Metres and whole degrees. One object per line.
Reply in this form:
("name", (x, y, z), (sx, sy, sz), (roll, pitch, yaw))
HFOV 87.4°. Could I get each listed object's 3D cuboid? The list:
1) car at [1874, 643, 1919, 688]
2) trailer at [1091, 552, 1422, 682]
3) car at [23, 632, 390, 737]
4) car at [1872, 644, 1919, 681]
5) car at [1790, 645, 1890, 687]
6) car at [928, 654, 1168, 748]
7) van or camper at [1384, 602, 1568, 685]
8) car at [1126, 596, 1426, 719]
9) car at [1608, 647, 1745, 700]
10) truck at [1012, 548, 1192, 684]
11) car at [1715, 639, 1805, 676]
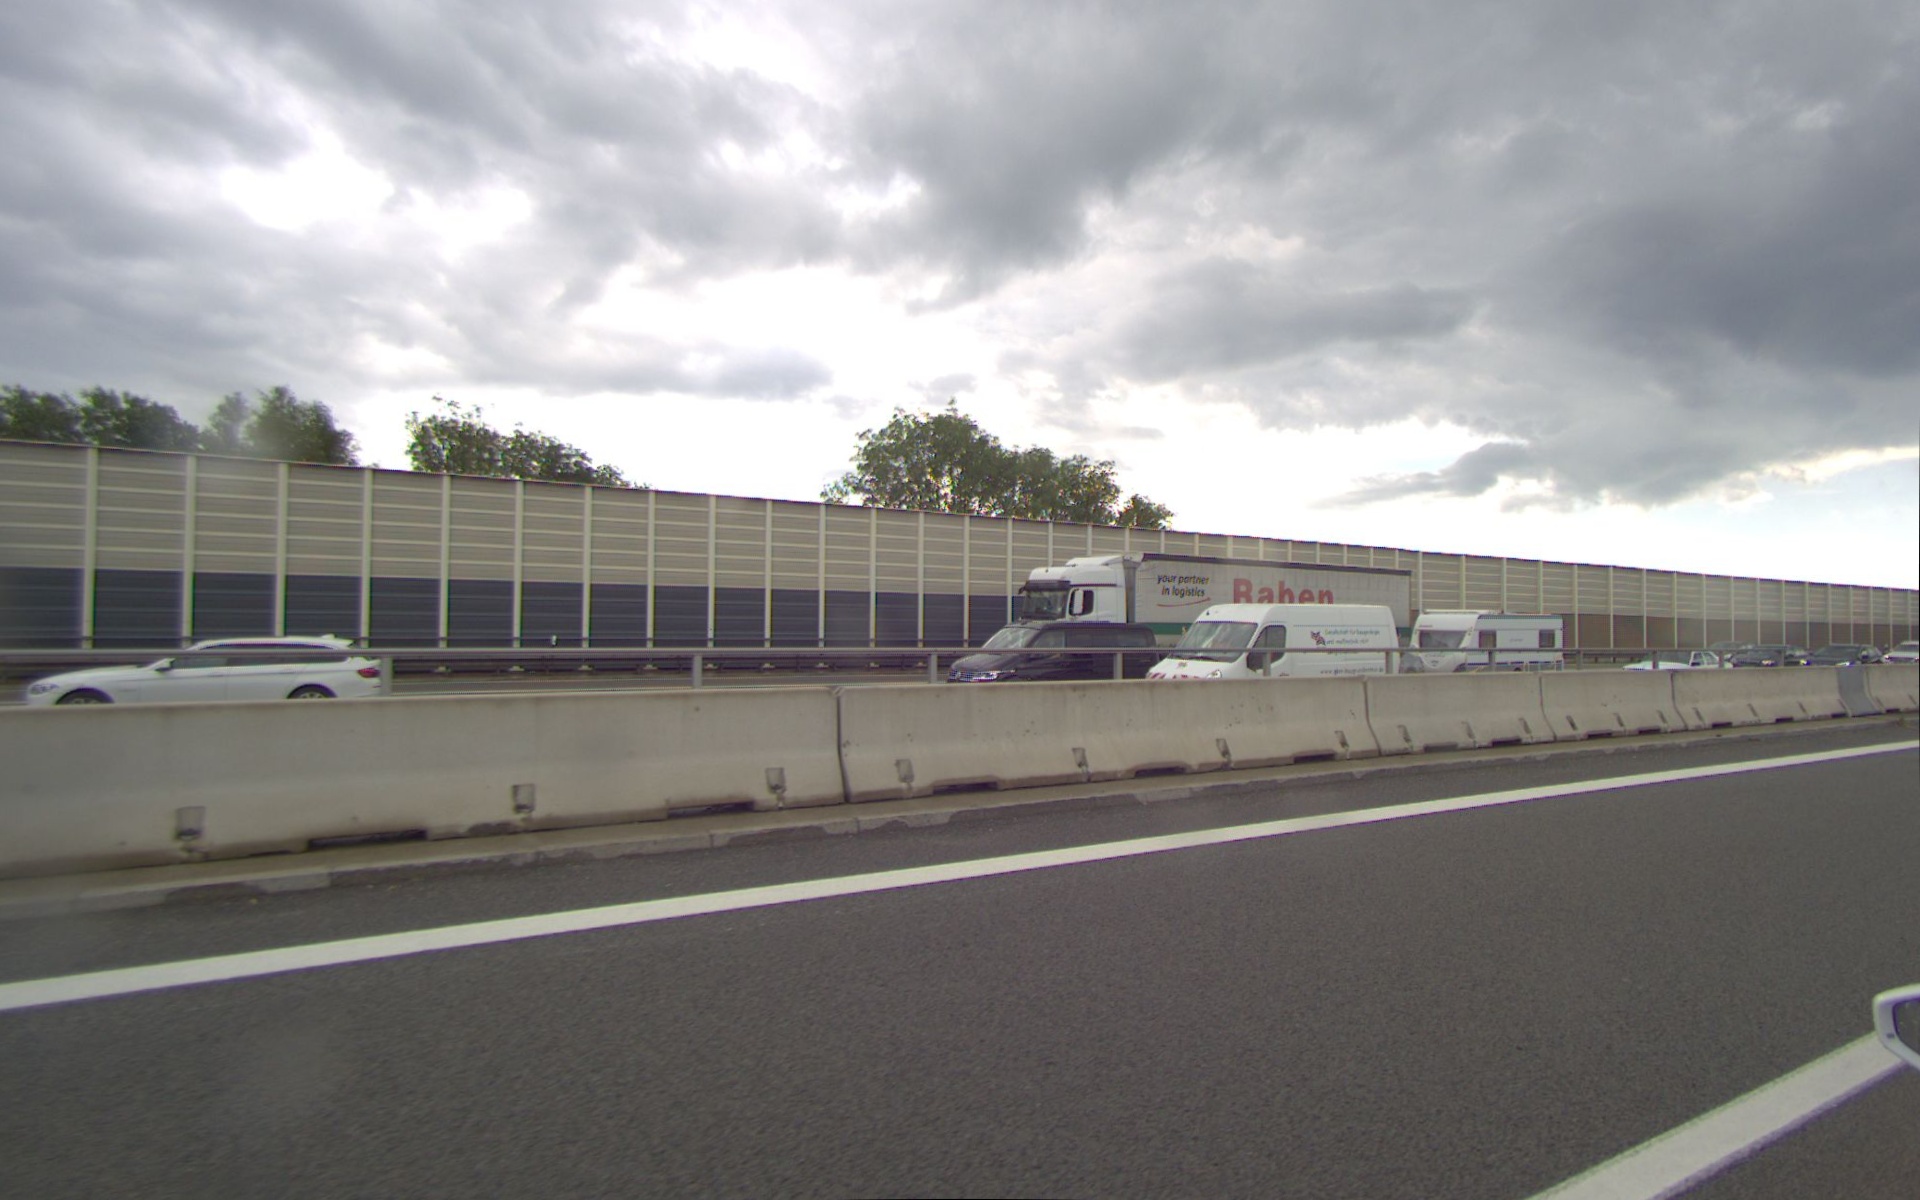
("car", (37.108, 2.488, 38.511), (4.202, 1.620, 1.915), (1, -2, -30))
("trailer", (10.874, 0.612, 35.487), (13.653, 3.987, 2.550), (1, 0, -30))
("car", (-12.448, 1.331, 17.098), (4.764, 1.546, 1.874), (1, -2, -30))
("car", (52.285, 3.396, 55.283), (4.202, 1.931, 1.915), (1, -2, -30))
("car", (36.918, 2.720, 42.120), (4.202, 1.620, 1.915), (1, -2, -30))
("car", (1.881, 2.023, 21.149), (4.745, 1.681, 2.069), (1, -2, -30))
("van or camper", (18.175, 1.475, 35.240), (7.065, 2.676, 2.333), (1, -2, -30))
("car", (6.205, 1.044, 19.485), (5.943, 2.098, 2.149), (1, -2, -30))
("car", (24.556, 2.465, 34.385), (5.036, 1.620, 1.915), (1, -2, -30))
("truck", (4.498, 0.495, 31.733), (5.116, 3.987, 2.564), (1, 0, -30))
("car", (37.380, 2.638, 46.898), (4.202, 1.620, 1.915), (1, -2, -30))
